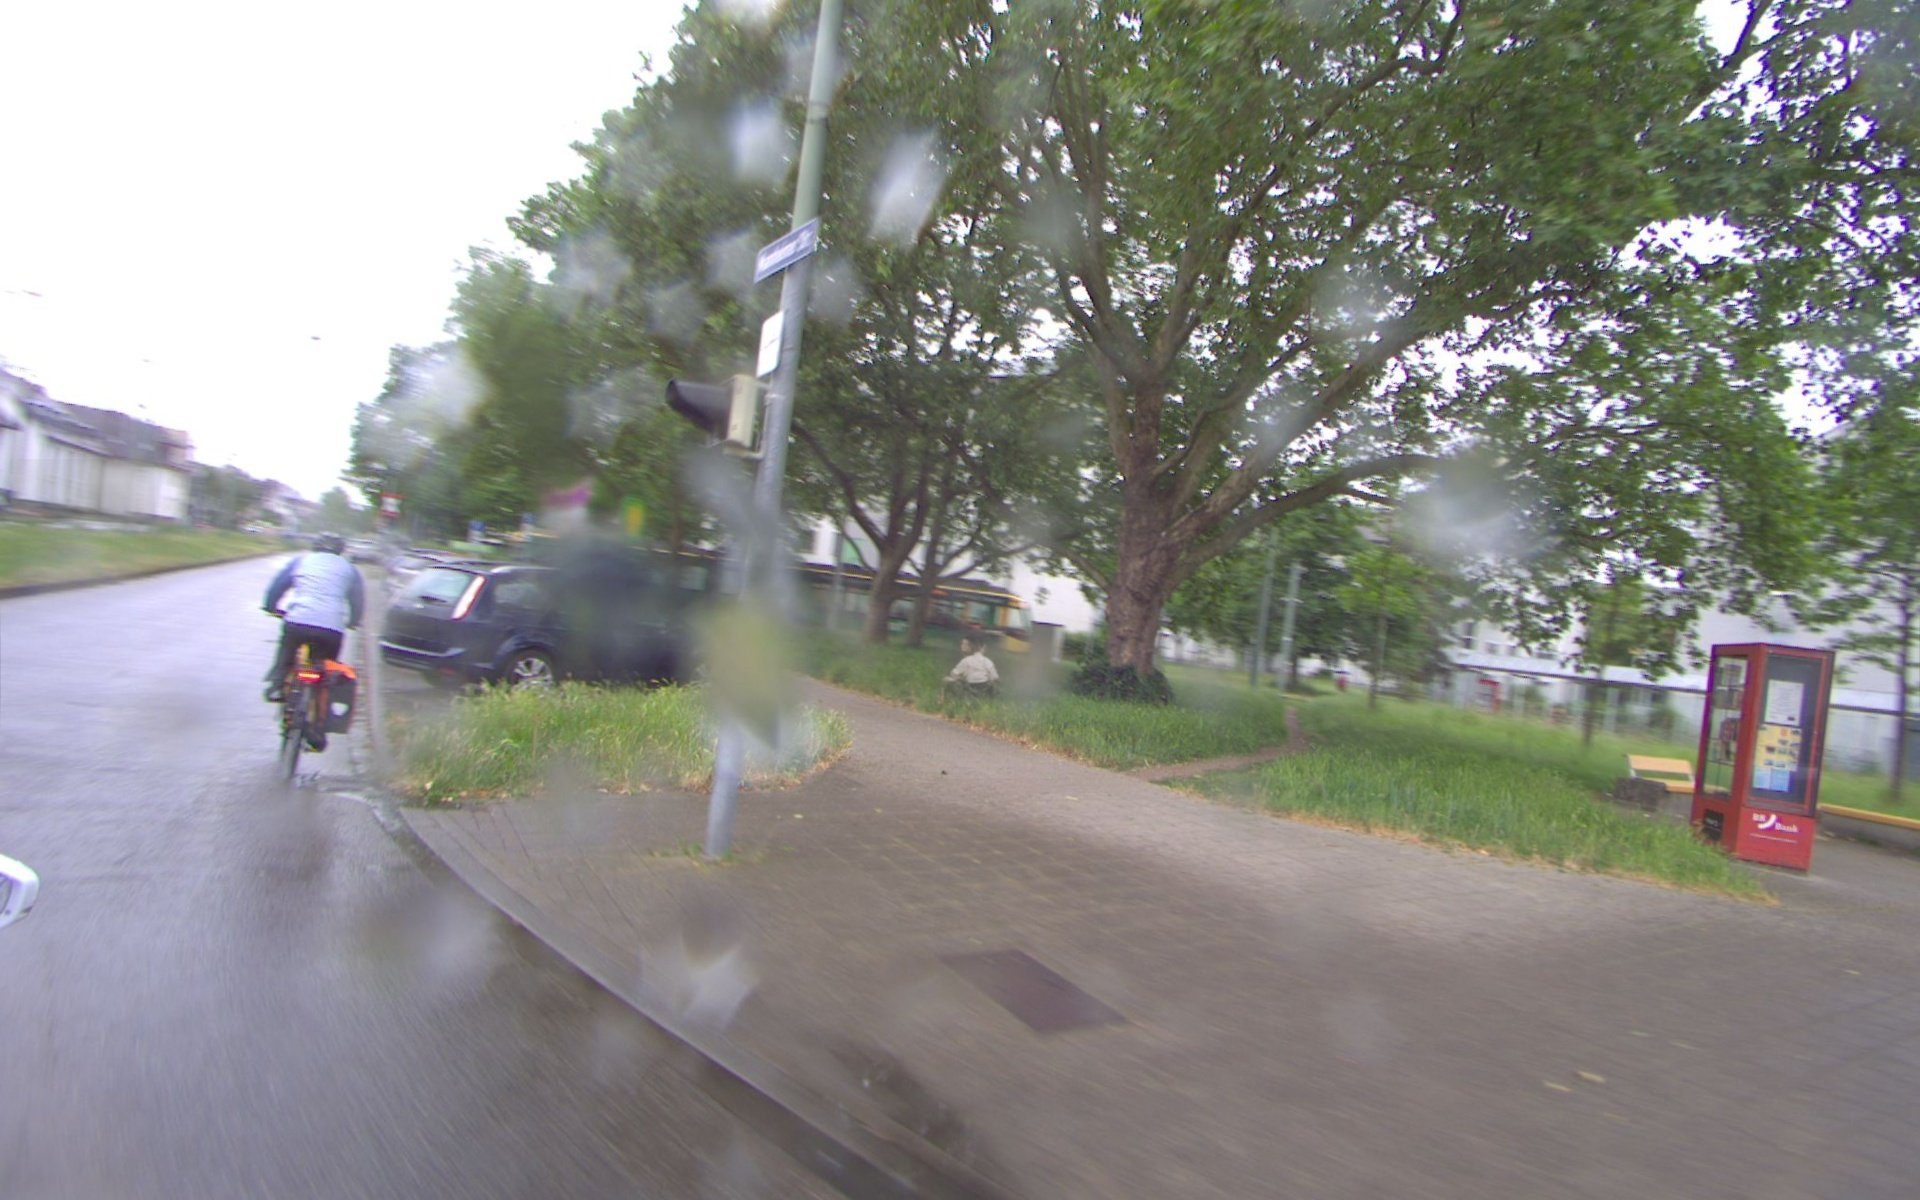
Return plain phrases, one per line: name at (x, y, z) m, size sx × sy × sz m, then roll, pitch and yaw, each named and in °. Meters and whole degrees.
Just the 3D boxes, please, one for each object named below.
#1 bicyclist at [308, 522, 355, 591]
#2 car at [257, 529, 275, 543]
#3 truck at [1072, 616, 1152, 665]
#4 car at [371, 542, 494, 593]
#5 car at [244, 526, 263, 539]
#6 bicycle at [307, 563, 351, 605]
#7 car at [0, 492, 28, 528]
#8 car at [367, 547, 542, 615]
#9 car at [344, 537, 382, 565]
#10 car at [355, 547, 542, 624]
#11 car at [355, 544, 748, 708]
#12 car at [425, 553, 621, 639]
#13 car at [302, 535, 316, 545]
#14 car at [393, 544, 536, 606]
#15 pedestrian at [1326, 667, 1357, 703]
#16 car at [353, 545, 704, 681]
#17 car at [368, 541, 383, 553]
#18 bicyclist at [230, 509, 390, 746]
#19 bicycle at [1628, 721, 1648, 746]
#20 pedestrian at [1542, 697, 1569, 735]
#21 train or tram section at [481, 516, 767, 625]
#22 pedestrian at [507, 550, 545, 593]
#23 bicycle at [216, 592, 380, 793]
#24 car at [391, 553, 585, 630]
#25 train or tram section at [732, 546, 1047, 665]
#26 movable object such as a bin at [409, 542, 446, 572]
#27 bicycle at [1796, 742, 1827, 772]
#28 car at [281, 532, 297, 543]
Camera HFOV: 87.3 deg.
bicyclist at (-15.648, -1.081, 25.034) m, size 0.825 × 1.577 × 0.906 m, roll 7°, pitch -1°, yaw -34°
car at (-112.440, -10.404, 163.015) m, size 1.979 × 1.724 × 3.972 m, roll 8°, pitch -3°, yaw -30°
truck at (12.423, 3.239, 82.827) m, size 3.157 × 3.513 × 7.123 m, roll 7°, pitch -3°, yaw -20°
car at (-21.853, -1.323, 41.838) m, size 1.965 × 1.501 × 3.996 m, roll 9°, pitch 0°, yaw 27°
car at (-110.241, -10.549, 157.009) m, size 1.979 × 1.561 × 3.972 m, roll 8°, pitch -3°, yaw -30°
bicycle at (-15.796, -0.414, 25.154) m, size 0.816 × 0.923 × 1.968 m, roll 7°, pitch -1°, yaw -34°
car at (-48.362, -4.591, 50.154) m, size 1.864 × 1.520 × 4.103 m, roll 8°, pitch -3°, yaw -31°
car at (-14.432, -0.493, 28.971) m, size 1.833 × 1.498 × 4.117 m, roll 7°, pitch 0°, yaw 27°
car at (-39.432, -3.209, 66.410) m, size 1.940 × 1.572 × 3.967 m, roll 6°, pitch -1°, yaw -32°
car at (-13.030, -0.317, 25.922) m, size 1.924 × 1.572 × 4.001 m, roll 5°, pitch -1°, yaw 18°
car at (-4.730, 0.408, 12.328) m, size 1.773 × 1.493 × 4.173 m, roll 7°, pitch -1°, yaw 29°
car at (-9.155, -0.028, 21.359) m, size 1.722 × 1.525 × 3.514 m, roll 5°, pitch 0°, yaw 23°
car at (-135.009, -12.420, 208.584) m, size 1.979 × 1.561 × 3.972 m, roll 8°, pitch -3°, yaw -30°
car at (-15.437, -0.754, 31.489) m, size 1.611 × 1.498 × 3.590 m, roll 7°, pitch 0°, yaw 32°
pedestrian at (22.326, 4.972, 58.884) m, size 1.168 × 1.905 × 1.054 m, roll 6°, pitch -2°, yaw -2°
car at (-6.146, 0.300, 14.947) m, size 1.773 × 1.493 × 4.544 m, roll 7°, pitch -1°, yaw 30°
car at (-94.147, -8.475, 162.057) m, size 1.979 × 1.509 × 3.971 m, roll 8°, pitch -3°, yaw -31°
bicyclist at (-4.511, 0.176, 7.032) m, size 0.745 × 1.504 × 0.839 m, roll 7°, pitch 1°, yaw -31°
bicycle at (28.390, 5.592, 42.100) m, size 0.412 × 0.958 × 1.301 m, roll 5°, pitch -3°, yaw 44°
pedestrian at (27.026, 5.276, 45.667) m, size 0.781 × 1.590 × 0.631 m, roll 7°, pitch -2°, yaw -31°
train or tram section at (-17.243, -1.533, 51.408) m, size 14.458 × 3.630 × 2.718 m, roll 7°, pitch -2°, yaw 15°
pedestrian at (-18.971, -1.242, 43.965) m, size 1.041 × 1.735 × 1.067 m, roll 7°, pitch 0°, yaw -44°
bicycle at (-4.589, 0.589, 7.080) m, size 0.747 × 1.086 × 1.911 m, roll 7°, pitch 0°, yaw -31°
car at (-10.987, -0.164, 23.730) m, size 1.790 × 1.520 × 3.997 m, roll 5°, pitch 1°, yaw 19°
train or tram section at (-3.420, 0.228, 47.608) m, size 14.458 × 3.630 × 2.718 m, roll 7°, pitch -2°, yaw 15°
movable object such as a bin at (-34.849, -2.808, 65.850) m, size 1.477 × 1.725 × 1.550 m, roll 7°, pitch 0°, yaw 35°
bicycle at (30.827, 5.698, 36.427) m, size 1.223 × 0.967 × 0.375 m, roll 8°, pitch -2°, yaw -27°
car at (-123.579, -11.522, 185.326) m, size 1.979 × 1.561 × 3.972 m, roll 8°, pitch -3°, yaw -30°
